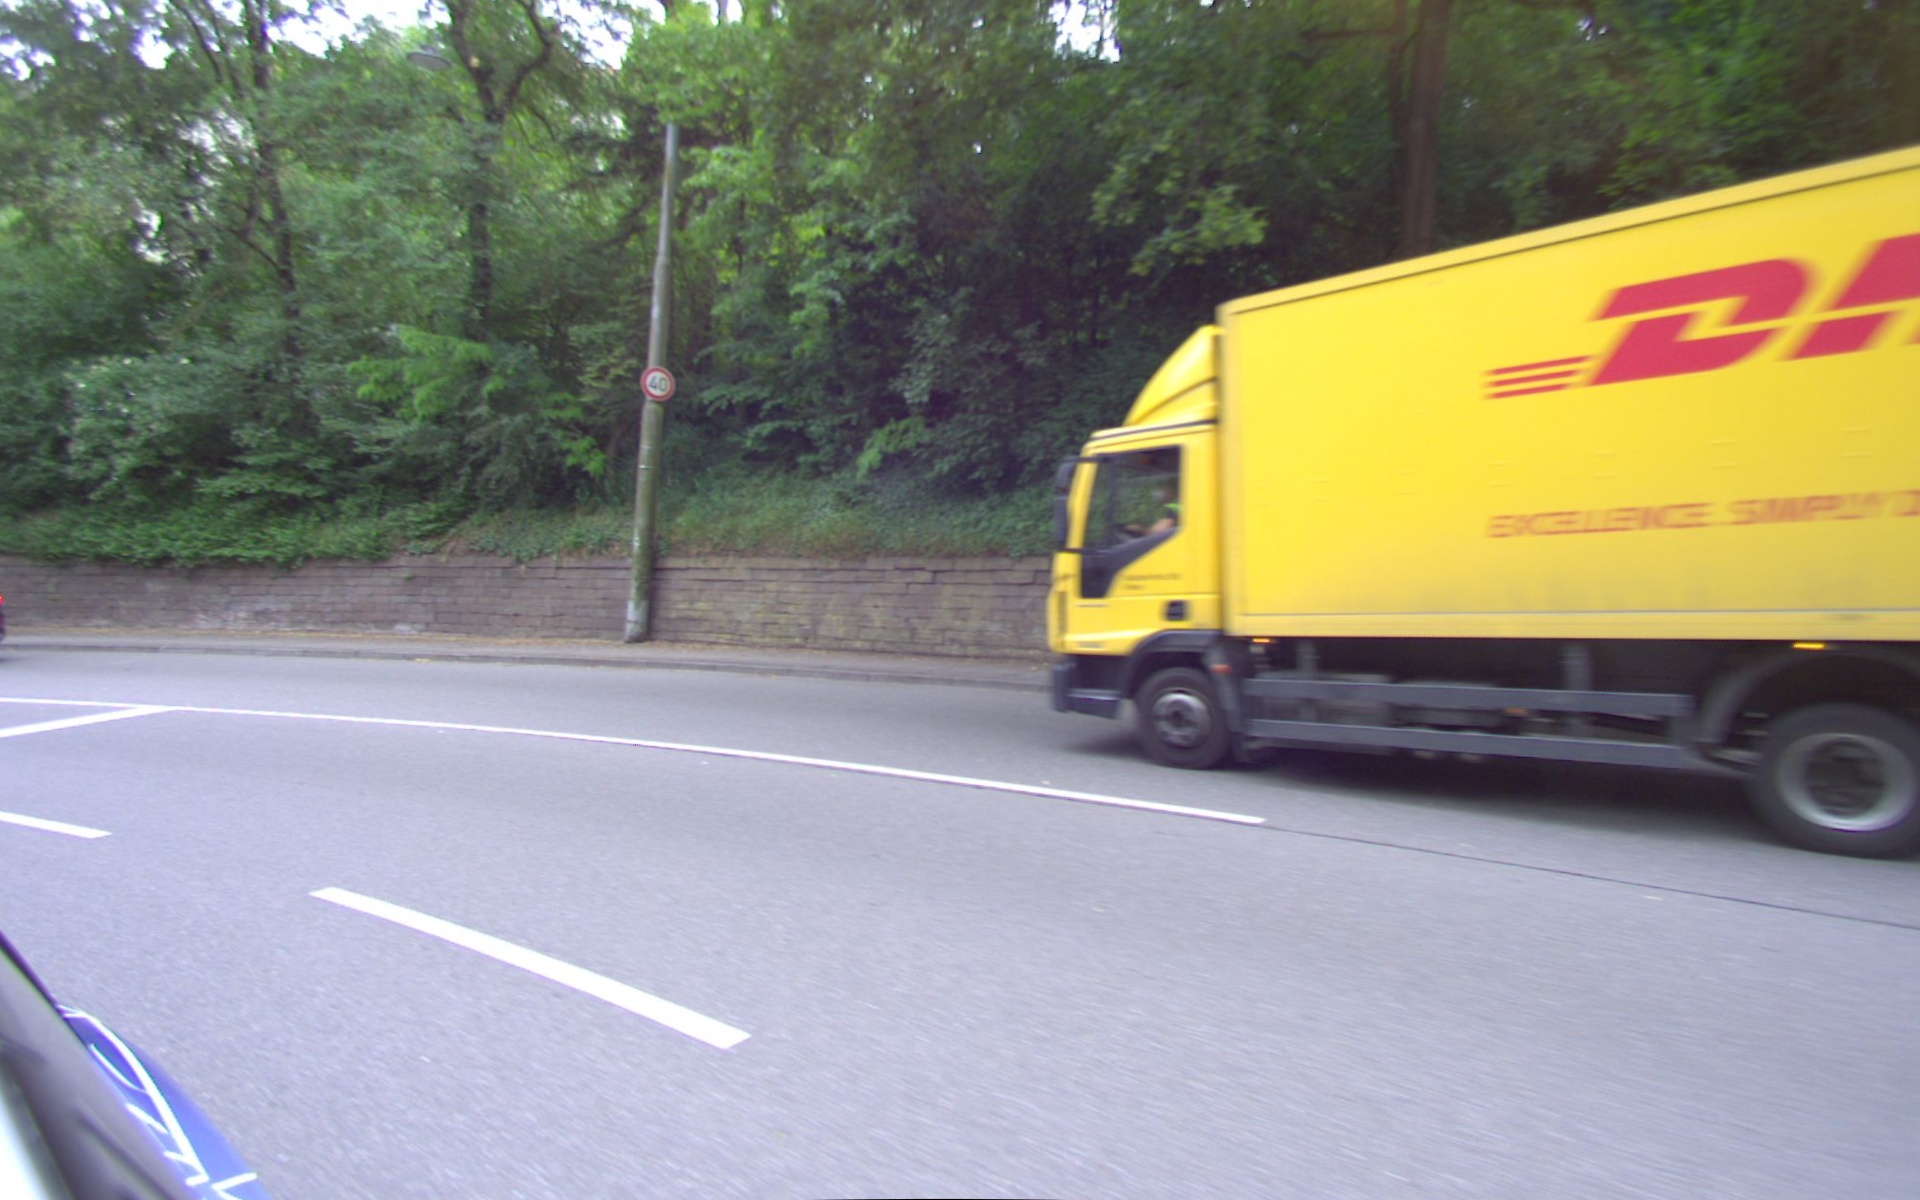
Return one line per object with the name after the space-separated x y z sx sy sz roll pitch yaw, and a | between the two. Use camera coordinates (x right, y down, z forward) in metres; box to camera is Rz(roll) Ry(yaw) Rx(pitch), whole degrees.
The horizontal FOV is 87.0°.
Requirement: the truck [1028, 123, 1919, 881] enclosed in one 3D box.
4.243 -0.436 6.257 7.581 3.325 2.720 0 0 42 | truck

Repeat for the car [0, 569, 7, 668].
-18.214 0.342 16.228 4.595 1.636 1.756 0 3 8 | car
